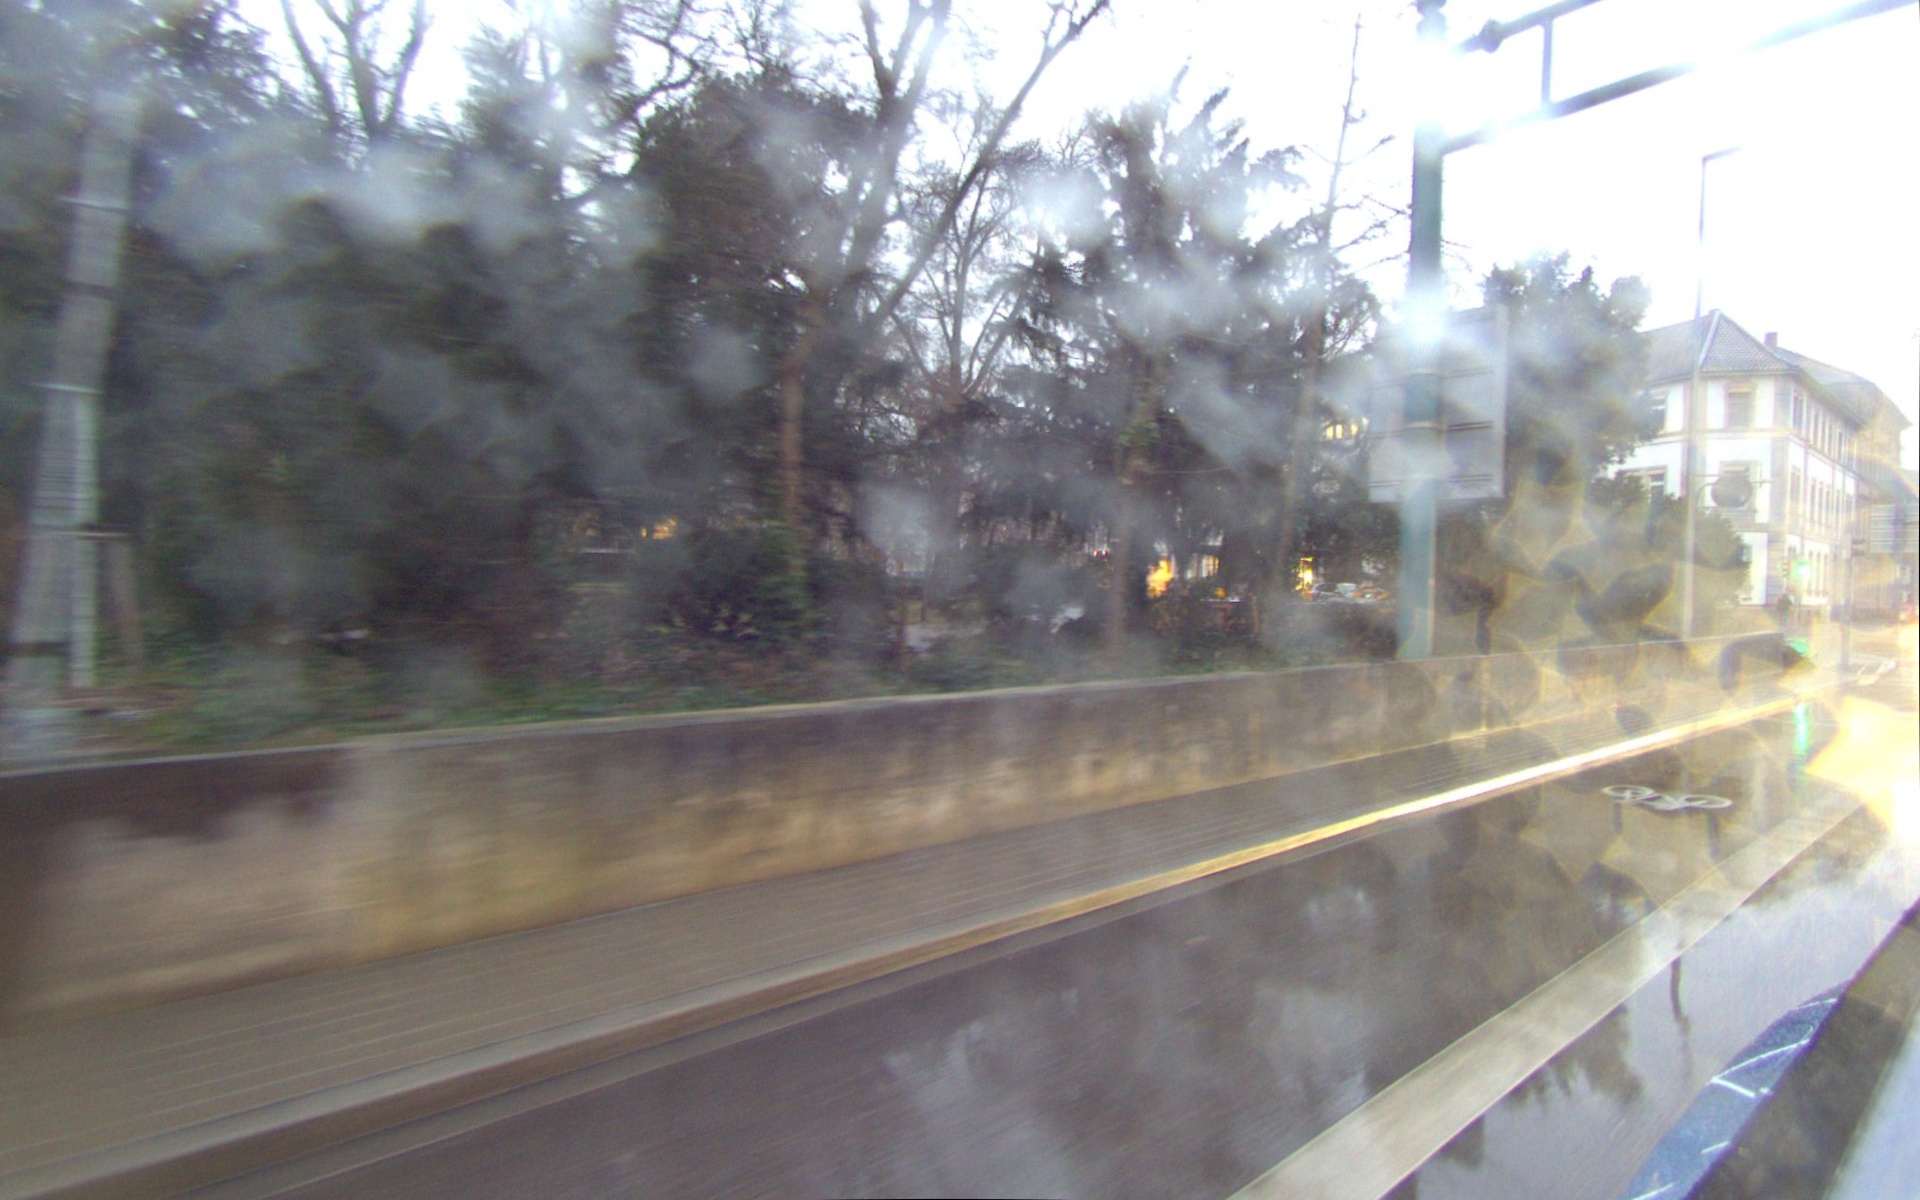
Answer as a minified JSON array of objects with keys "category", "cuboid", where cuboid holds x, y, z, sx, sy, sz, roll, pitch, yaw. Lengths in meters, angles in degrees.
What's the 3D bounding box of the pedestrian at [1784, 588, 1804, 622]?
[{"category":"pedestrian","cuboid":[38.323,0.215,46.493,0.577,1.529,0.521,1,1,-35]}]
